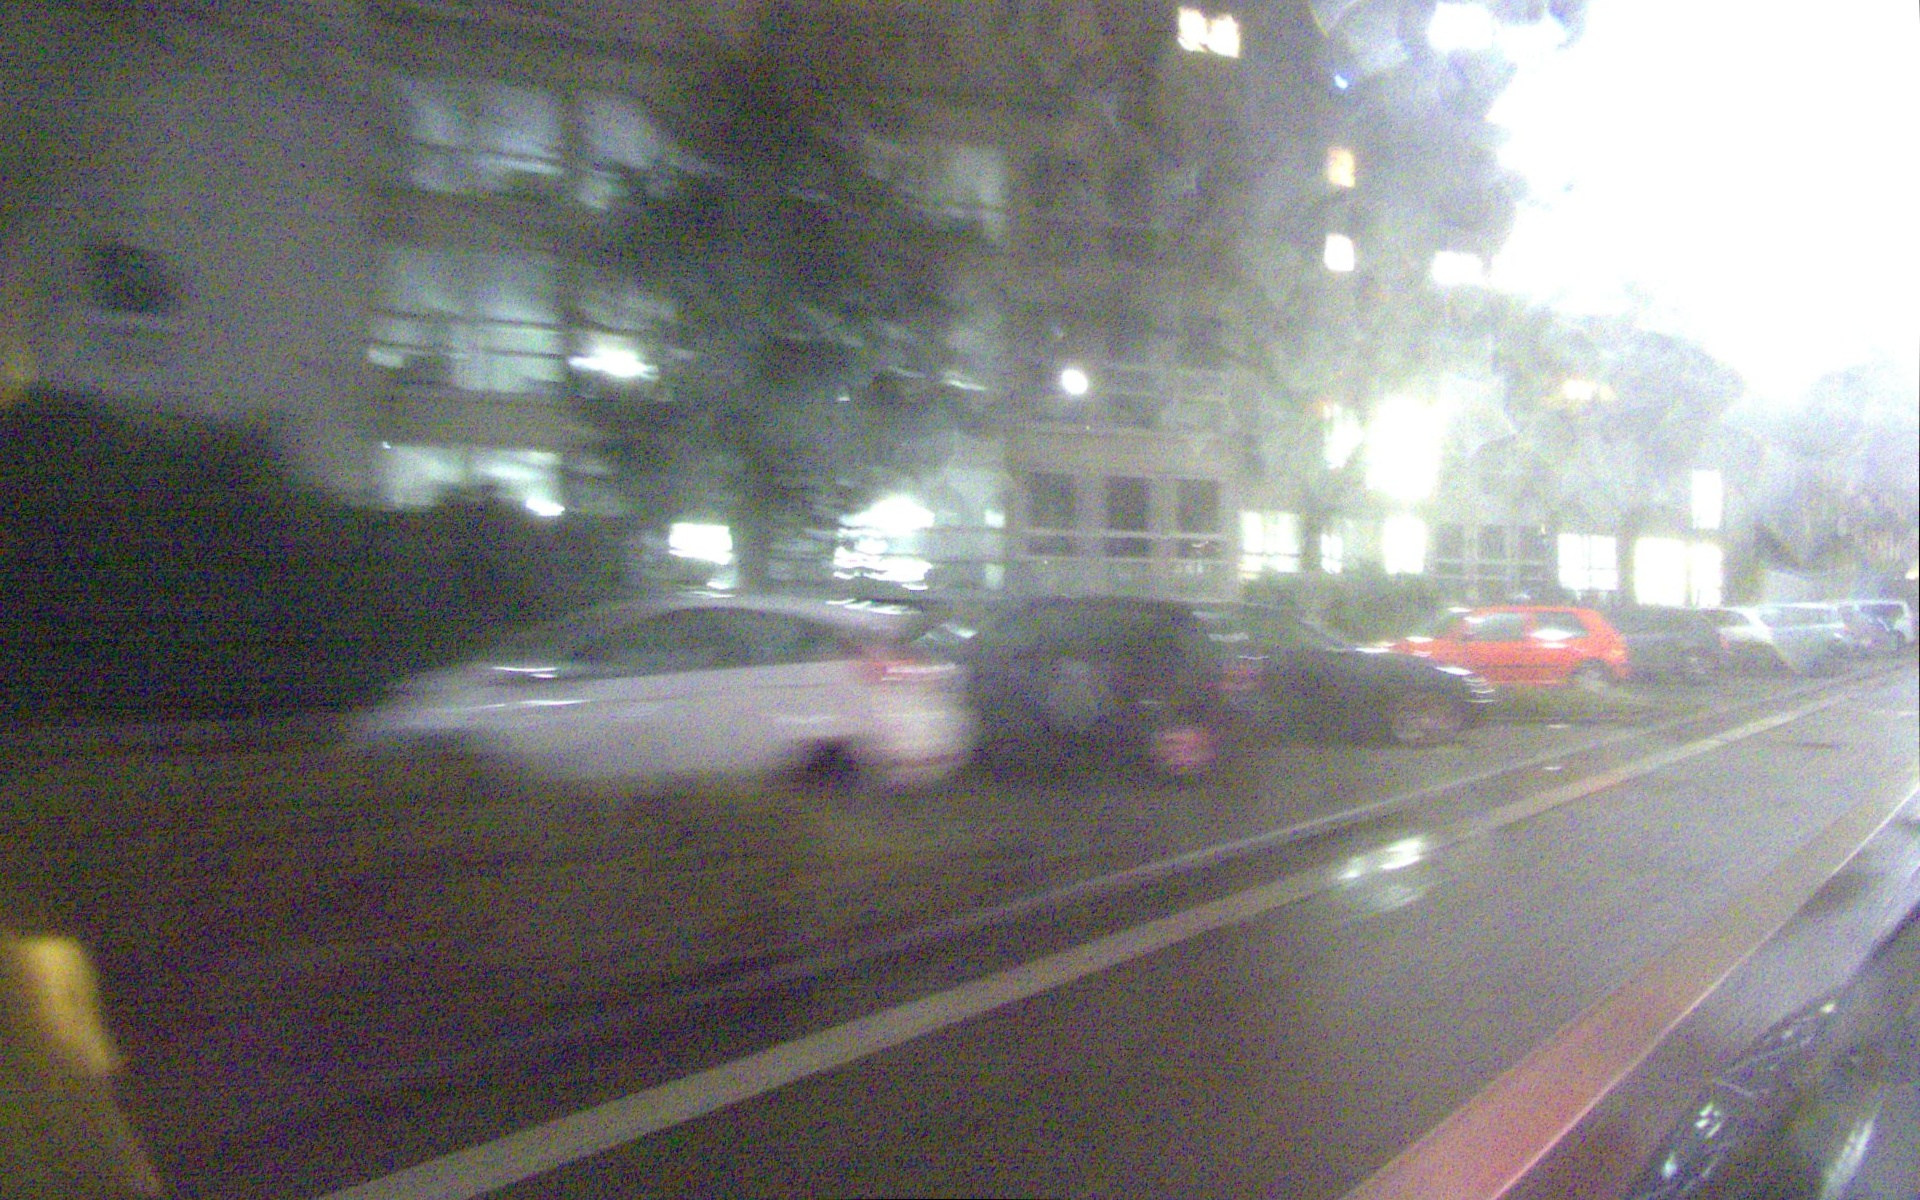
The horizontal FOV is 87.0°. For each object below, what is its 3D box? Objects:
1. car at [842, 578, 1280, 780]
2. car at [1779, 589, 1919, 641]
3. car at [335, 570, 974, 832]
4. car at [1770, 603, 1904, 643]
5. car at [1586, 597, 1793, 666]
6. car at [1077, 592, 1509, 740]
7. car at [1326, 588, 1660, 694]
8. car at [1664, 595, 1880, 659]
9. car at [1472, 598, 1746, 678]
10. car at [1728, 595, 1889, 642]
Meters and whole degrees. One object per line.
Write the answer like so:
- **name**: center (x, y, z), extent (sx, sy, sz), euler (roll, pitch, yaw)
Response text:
- **car**: center (0.893, 0.588, 8.993), extent (3.517, 1.490, 1.648), euler (2, 1, 12)
- **car**: center (32.184, 0.511, 36.389), extent (3.897, 1.793, 1.664), euler (0, 0, 13)
- **car**: center (-1.851, 0.583, 6.901), extent (3.836, 1.531, 1.710), euler (0, 0, 3)
- **car**: center (27.895, 0.720, 32.262), extent (2.890, 1.238, 1.507), euler (0, 0, 3)
- **car**: center (17.207, 0.726, 24.007), extent (3.602, 1.547, 1.715), euler (0, 0, 4)
- **car**: center (3.400, 0.640, 11.056), extent (4.185, 1.435, 1.781), euler (0, 0, 8)
- **car**: center (7.909, 0.602, 15.305), extent (4.108, 1.501, 1.662), euler (0, -1, 1)
- **car**: center (20.774, 0.661, 26.035), extent (3.945, 1.547, 1.797), euler (0, 0, 8)
- **car**: center (12.386, 0.706, 19.546), extent (4.091, 1.463, 1.652), euler (0, 0, 7)
- **car**: center (29.196, 0.610, 34.969), extent (3.913, 1.527, 1.608), euler (0, 0, 23)
